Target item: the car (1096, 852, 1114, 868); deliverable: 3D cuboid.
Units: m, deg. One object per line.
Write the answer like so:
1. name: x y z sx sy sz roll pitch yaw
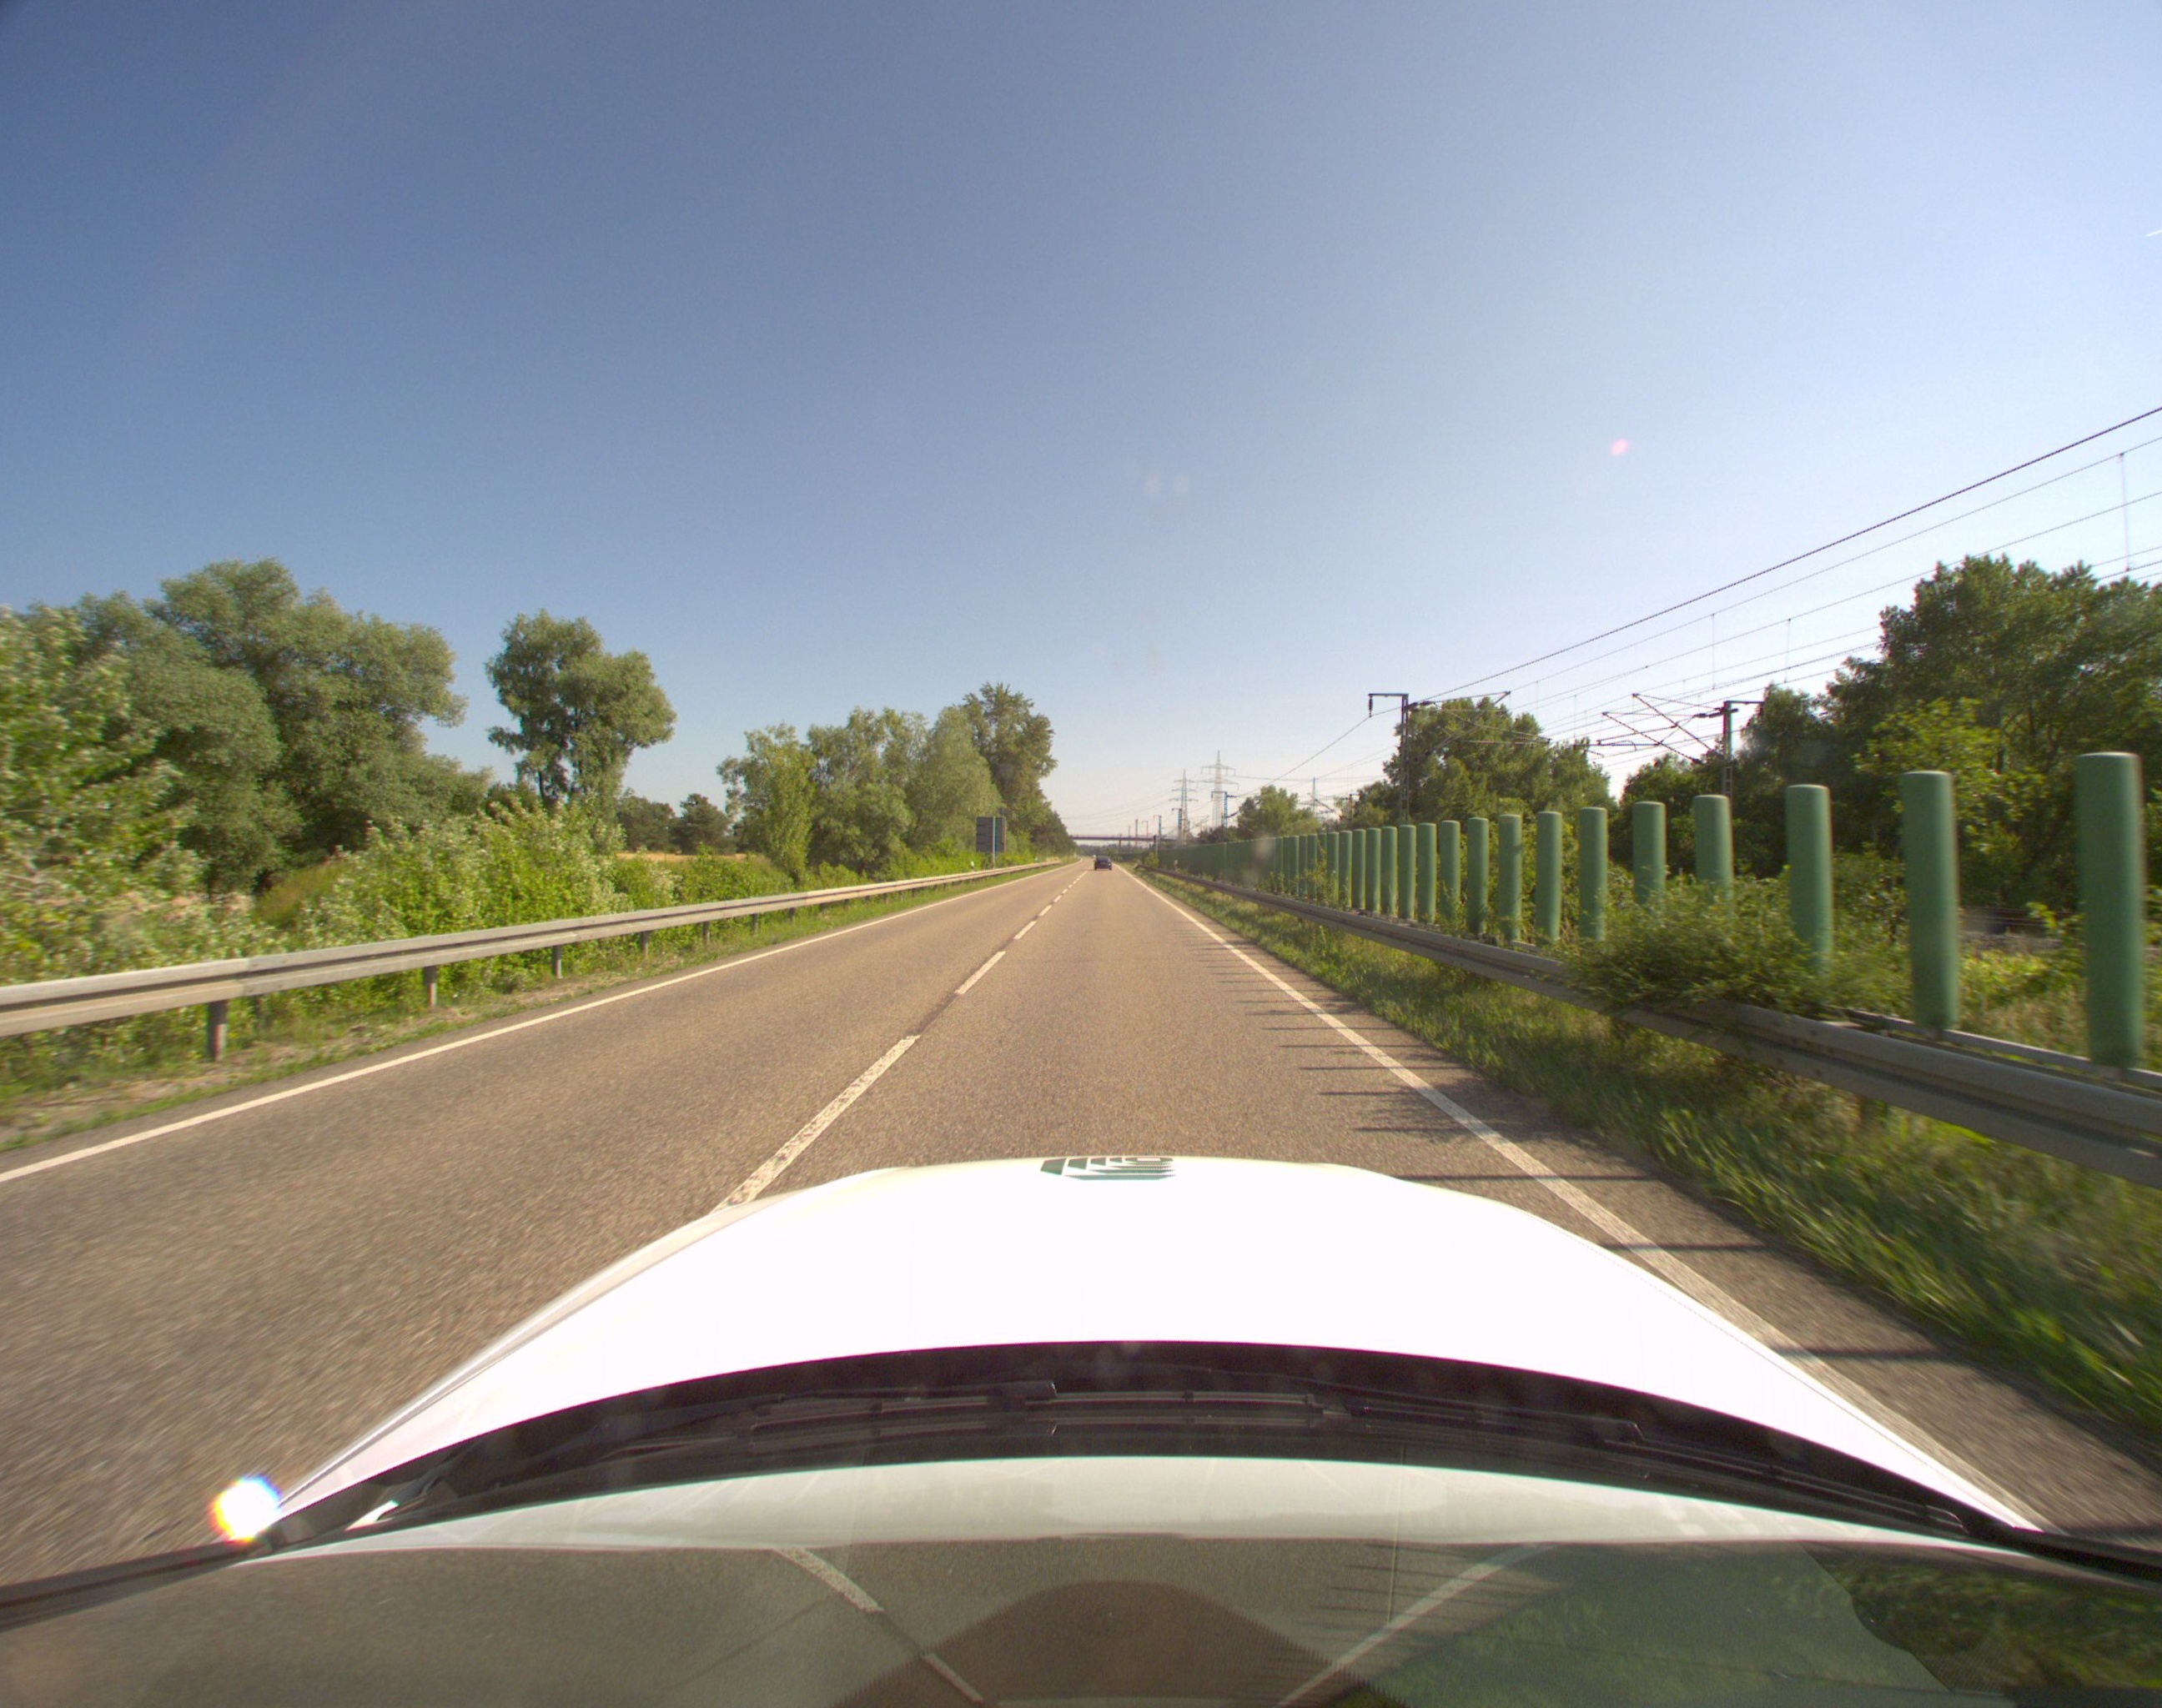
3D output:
1. car: 2.517 0.632 85.402 1.852 1.642 4.001 -1 0 1
